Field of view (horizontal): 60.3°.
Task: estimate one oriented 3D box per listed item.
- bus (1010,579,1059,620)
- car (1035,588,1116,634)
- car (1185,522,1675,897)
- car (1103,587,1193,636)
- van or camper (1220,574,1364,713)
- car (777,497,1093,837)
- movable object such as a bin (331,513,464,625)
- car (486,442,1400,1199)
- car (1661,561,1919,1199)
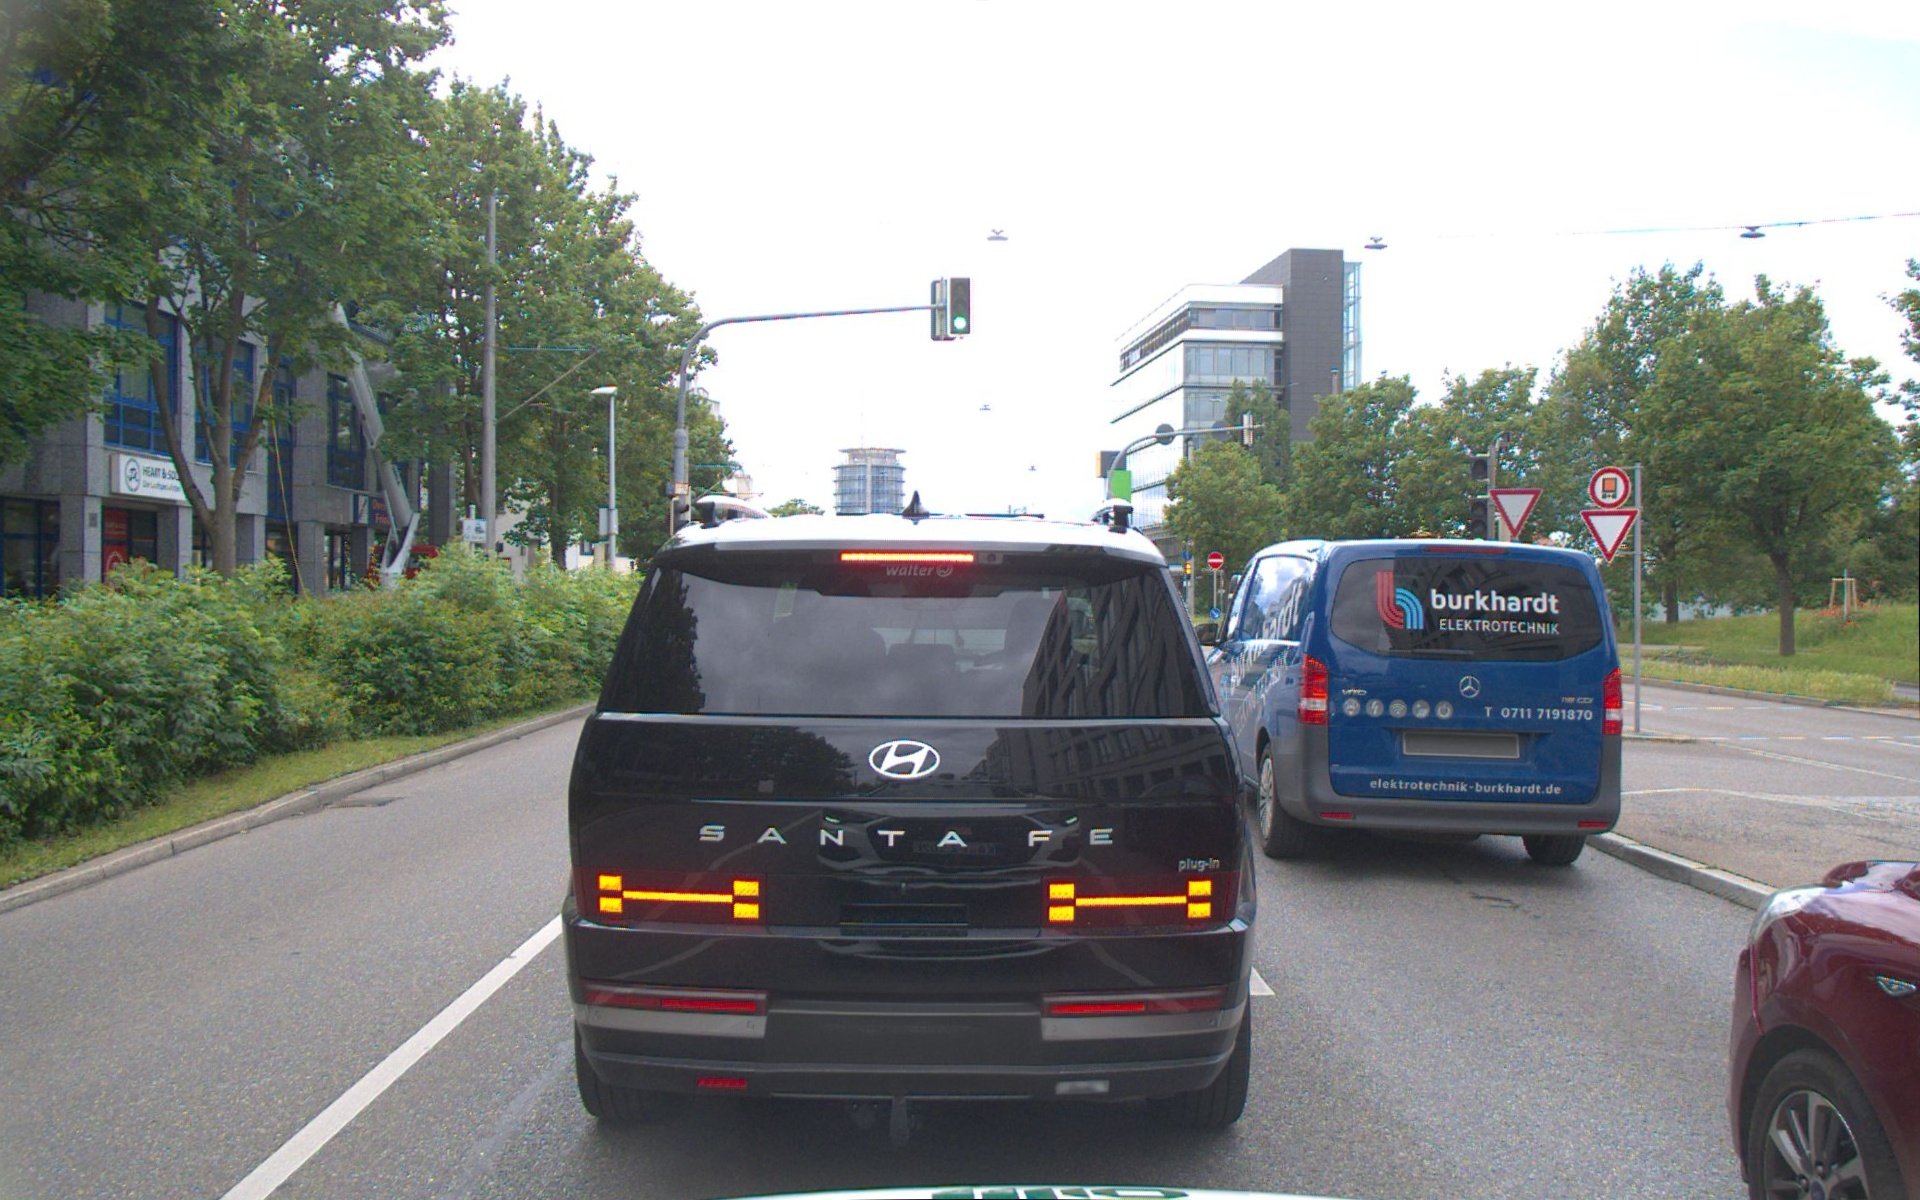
[{"bbox_3d":[5.921,-0.027,133.328,2.908,3.171,9.236,-1,0,-4],"label":"bus"},{"bbox_3d":[4.054,0.369,58.699,1.751,1.450,4.384,2,1,-11],"label":"car"},{"bbox_3d":[2.764,0.557,10.950,1.863,1.891,4.709,2,0,0],"label":"car"},{"bbox_3d":[6.761,0.396,60.084,1.856,1.591,4.381,2,1,-13],"label":"car"},{"bbox_3d":[5.102,0.586,25.954,1.951,1.951,4.413,1,1,8],"label":"van or camper"},{"bbox_3d":[-0.013,0.391,12.360,1.862,2.003,4.638,2,0,3],"label":"car"},{"bbox_3d":[-13.745,-0.741,40.672,1.866,2.575,4.126,2,0,-2],"label":"movable object such as a bin"},{"bbox_3d":[-0.064,0.568,5.678,1.863,1.762,4.445,2,0,-1],"label":"car"},{"bbox_3d":[2.658,0.709,2.232,1.710,1.507,3.717,1,0,-2],"label":"car"}]
